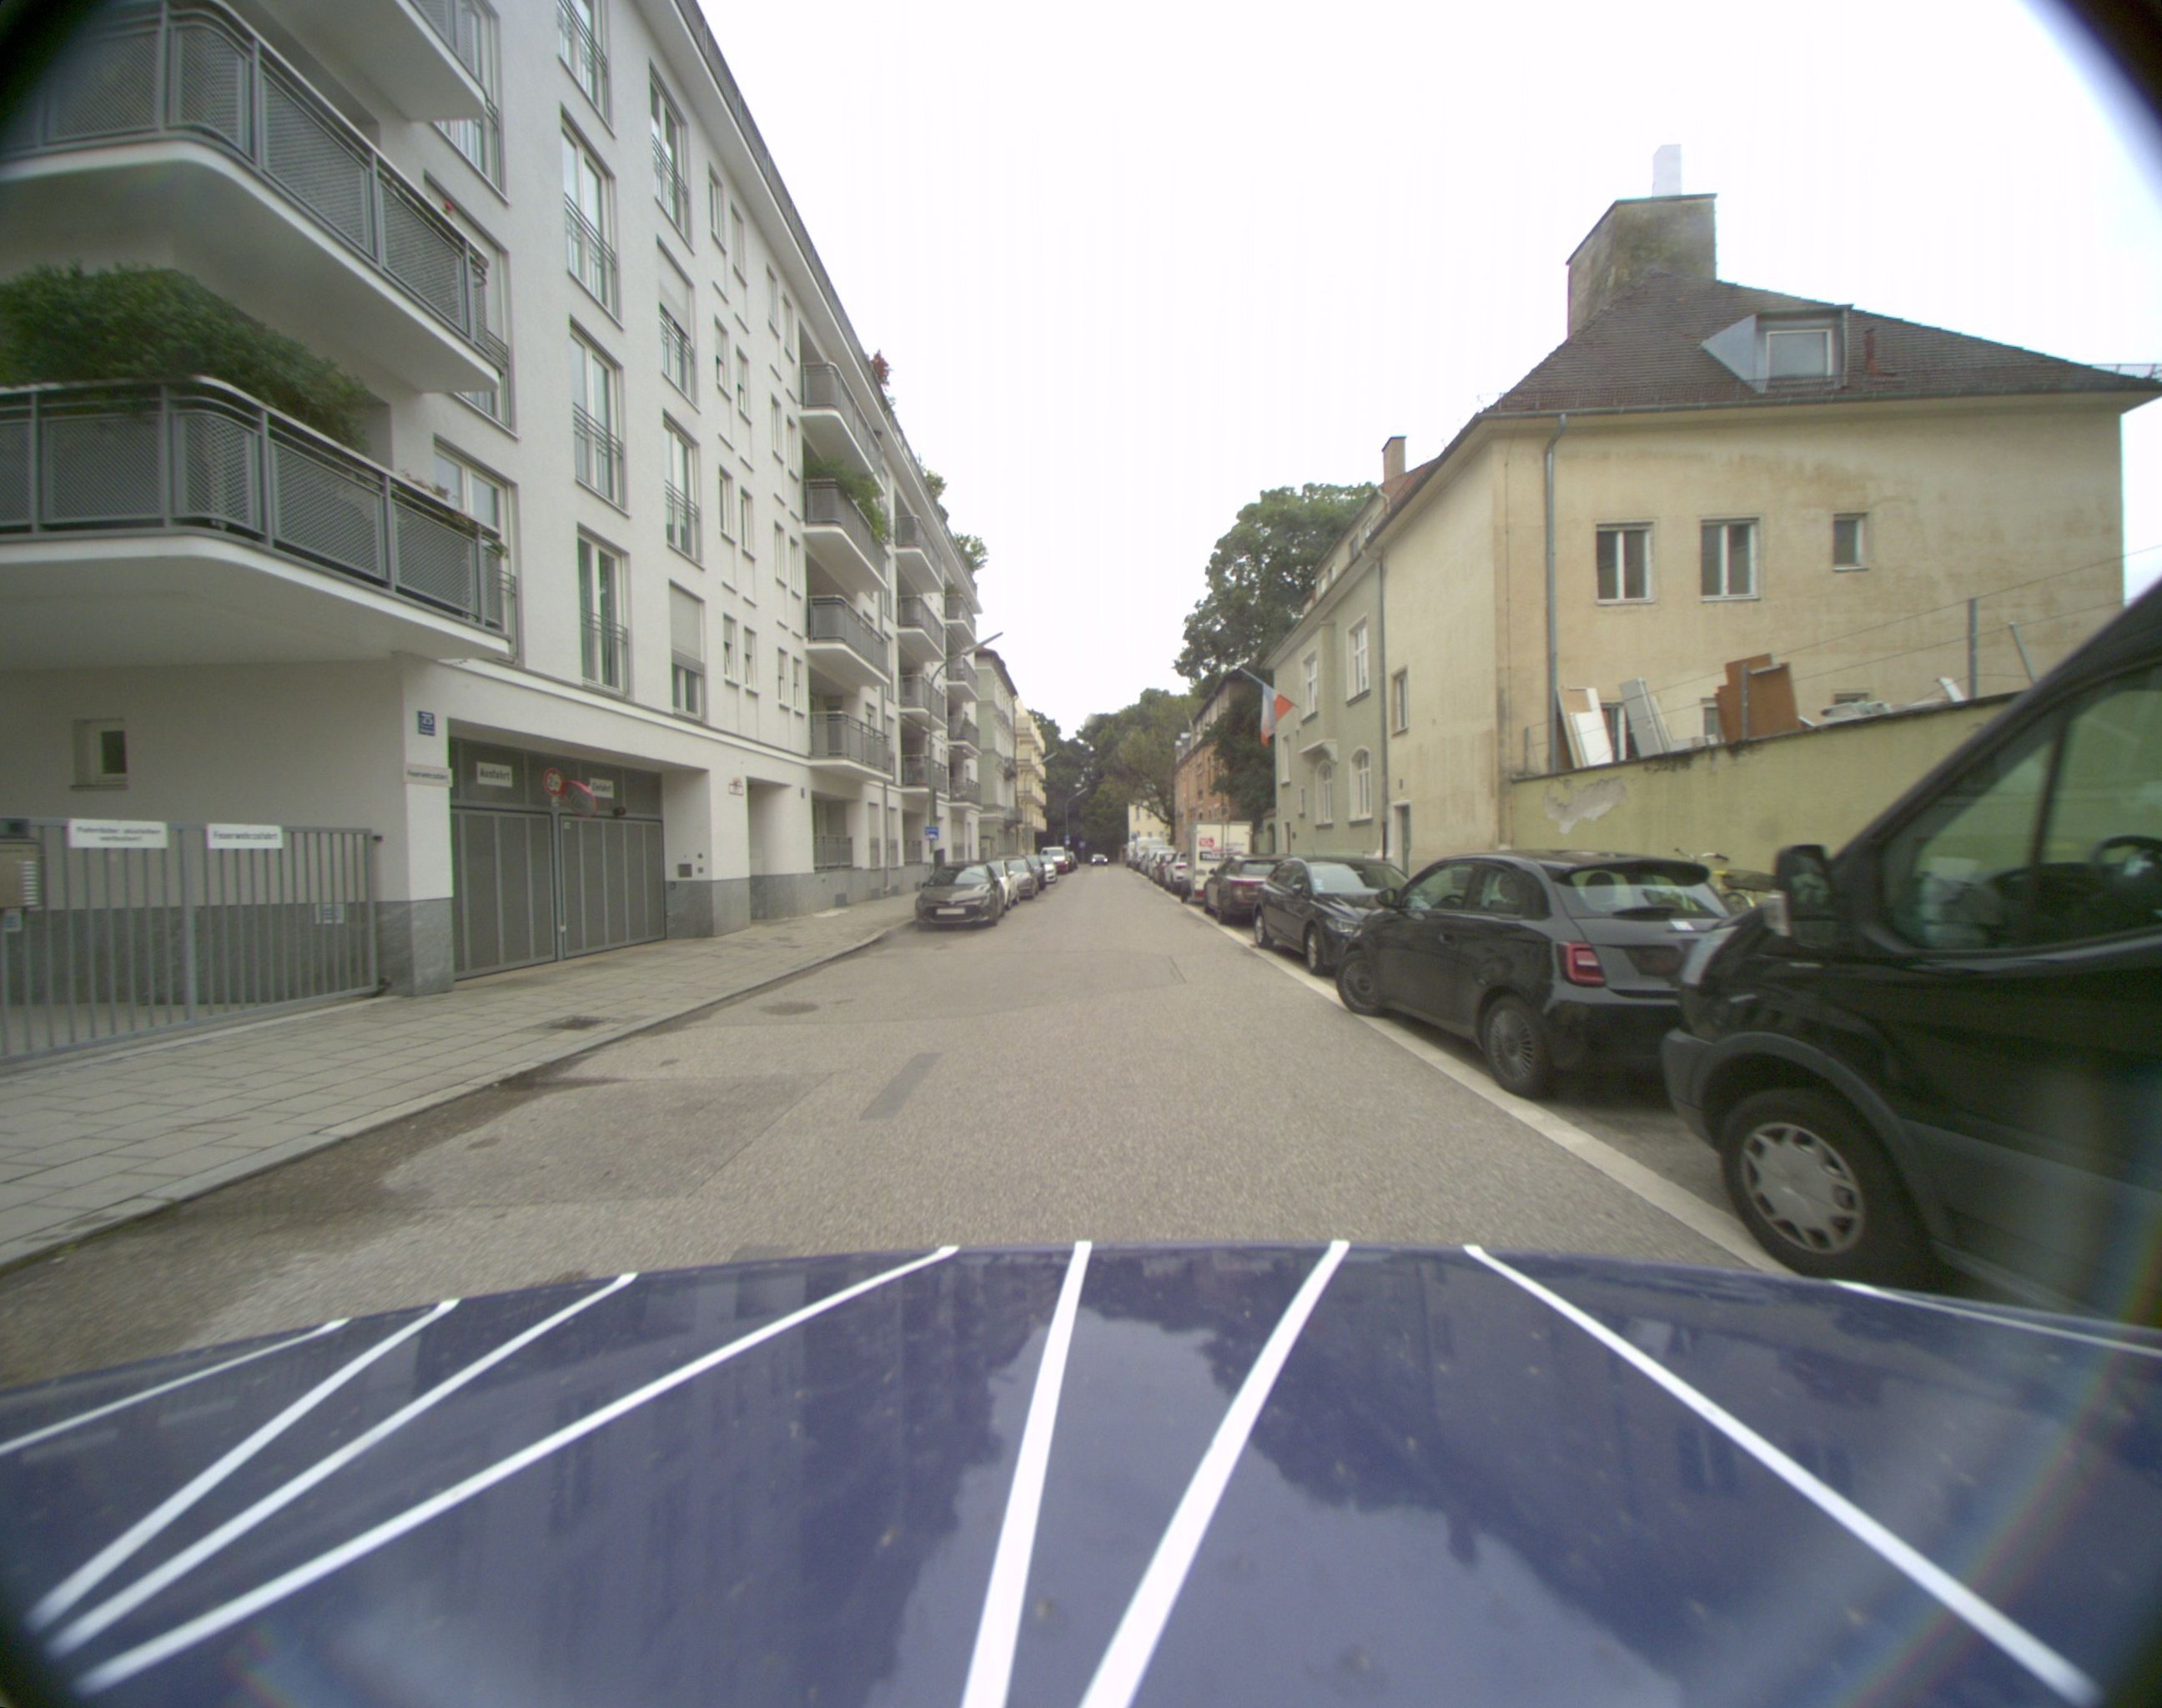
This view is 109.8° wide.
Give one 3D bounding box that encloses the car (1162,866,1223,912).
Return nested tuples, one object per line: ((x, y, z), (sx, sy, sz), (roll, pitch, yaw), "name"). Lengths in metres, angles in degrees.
((4.059, 1.233, 28.151), (1.683, 1.521, 4.107), (-1, 0, 1), "car")

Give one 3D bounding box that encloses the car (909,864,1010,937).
((-2.753, 1.004, 18.106), (1.776, 1.467, 4.217), (-2, 0, -1), "car")

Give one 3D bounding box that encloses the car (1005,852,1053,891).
((-2.270, 0.744, 34.005), (1.842, 1.524, 4.021), (-3, 0, -1), "car")

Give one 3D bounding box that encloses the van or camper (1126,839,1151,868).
((5.401, -0.033, 72.003), (2.116, 2.646, 4.958), (-1, 0, 1), "van or camper")

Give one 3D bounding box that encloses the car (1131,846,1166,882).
((4.858, 0.696, 55.578), (2.117, 2.461, 5.232), (-1, 0, 1), "car")

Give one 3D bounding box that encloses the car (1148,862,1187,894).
((4.384, 1.205, 38.922), (1.630, 1.459, 3.520), (-1, 1, 1), "car")

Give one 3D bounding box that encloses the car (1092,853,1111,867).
((2.287, 0.680, 85.717), (1.998, 1.521, 4.000), (-3, 0, 1), "car")

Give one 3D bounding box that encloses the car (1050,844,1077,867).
((-1.340, 0.133, 60.391), (1.860, 1.700, 4.698), (-3, 0, 2), "car")

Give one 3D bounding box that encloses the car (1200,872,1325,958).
((3.876, 1.229, 17.114), (1.868, 1.532, 5.093), (0, 0, 3), "car")

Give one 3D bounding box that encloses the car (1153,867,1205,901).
((4.278, 1.287, 33.746), (1.750, 1.360, 4.403), (-1, 0, 1), "car")

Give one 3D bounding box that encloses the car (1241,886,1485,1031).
((3.561, 1.244, 10.508), (1.679, 1.428, 4.286), (0, 0, -2), "car")

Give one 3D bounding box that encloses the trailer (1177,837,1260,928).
((4.054, 0.779, 23.100), (1.980, 2.457, 4.578), (1, 0, 5), "trailer")

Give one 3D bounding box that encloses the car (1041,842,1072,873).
((-1.728, 0.258, 54.781), (1.858, 2.019, 4.784), (-3, 0, 2), "car")

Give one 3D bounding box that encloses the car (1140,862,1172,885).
((4.884, 1.284, 50.085), (1.719, 1.412, 4.166), (-1, 0, 1), "car")

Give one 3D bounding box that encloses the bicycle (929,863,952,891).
((-5.890, 0.962, 31.980), (0.570, 1.091, 1.810), (2, 0, 2), "bicycle")

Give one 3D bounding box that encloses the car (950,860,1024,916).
((-2.766, 0.957, 23.004), (1.621, 1.458, 3.747), (-3, 0, 1), "car")

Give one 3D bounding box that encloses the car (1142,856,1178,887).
((4.631, 1.019, 45.163), (1.719, 1.745, 4.251), (-1, 0, 1), "car")

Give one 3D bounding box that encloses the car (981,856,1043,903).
((-2.463, 0.872, 27.998), (1.796, 1.473, 4.603), (-3, 0, 0), "car")

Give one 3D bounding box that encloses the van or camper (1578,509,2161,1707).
((3.455, 0.571, 0.868), (2.298, 2.635, 5.562), (0, 0, 2), "van or camper")

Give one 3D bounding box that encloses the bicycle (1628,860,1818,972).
((7.939, 0.708, 9.534), (0.804, 1.226, 1.868), (-1, 1, 1), "bicycle")

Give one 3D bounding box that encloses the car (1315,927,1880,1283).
((3.325, 1.500, 5.942), (1.657, 1.488, 3.908), (0, 0, -2), "car")

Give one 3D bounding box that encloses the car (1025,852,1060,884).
((-1.978, 0.683, 39.869), (1.668, 1.459, 4.375), (-2, 1, -1), "car")

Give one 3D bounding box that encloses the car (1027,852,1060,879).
((-2.157, 0.682, 44.592), (1.719, 1.414, 3.719), (-3, 0, 0), "car")

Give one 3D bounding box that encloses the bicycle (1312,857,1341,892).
((8.198, 0.663, 25.430), (0.461, 1.078, 1.523), (-3, 1, 1), "bicycle")
